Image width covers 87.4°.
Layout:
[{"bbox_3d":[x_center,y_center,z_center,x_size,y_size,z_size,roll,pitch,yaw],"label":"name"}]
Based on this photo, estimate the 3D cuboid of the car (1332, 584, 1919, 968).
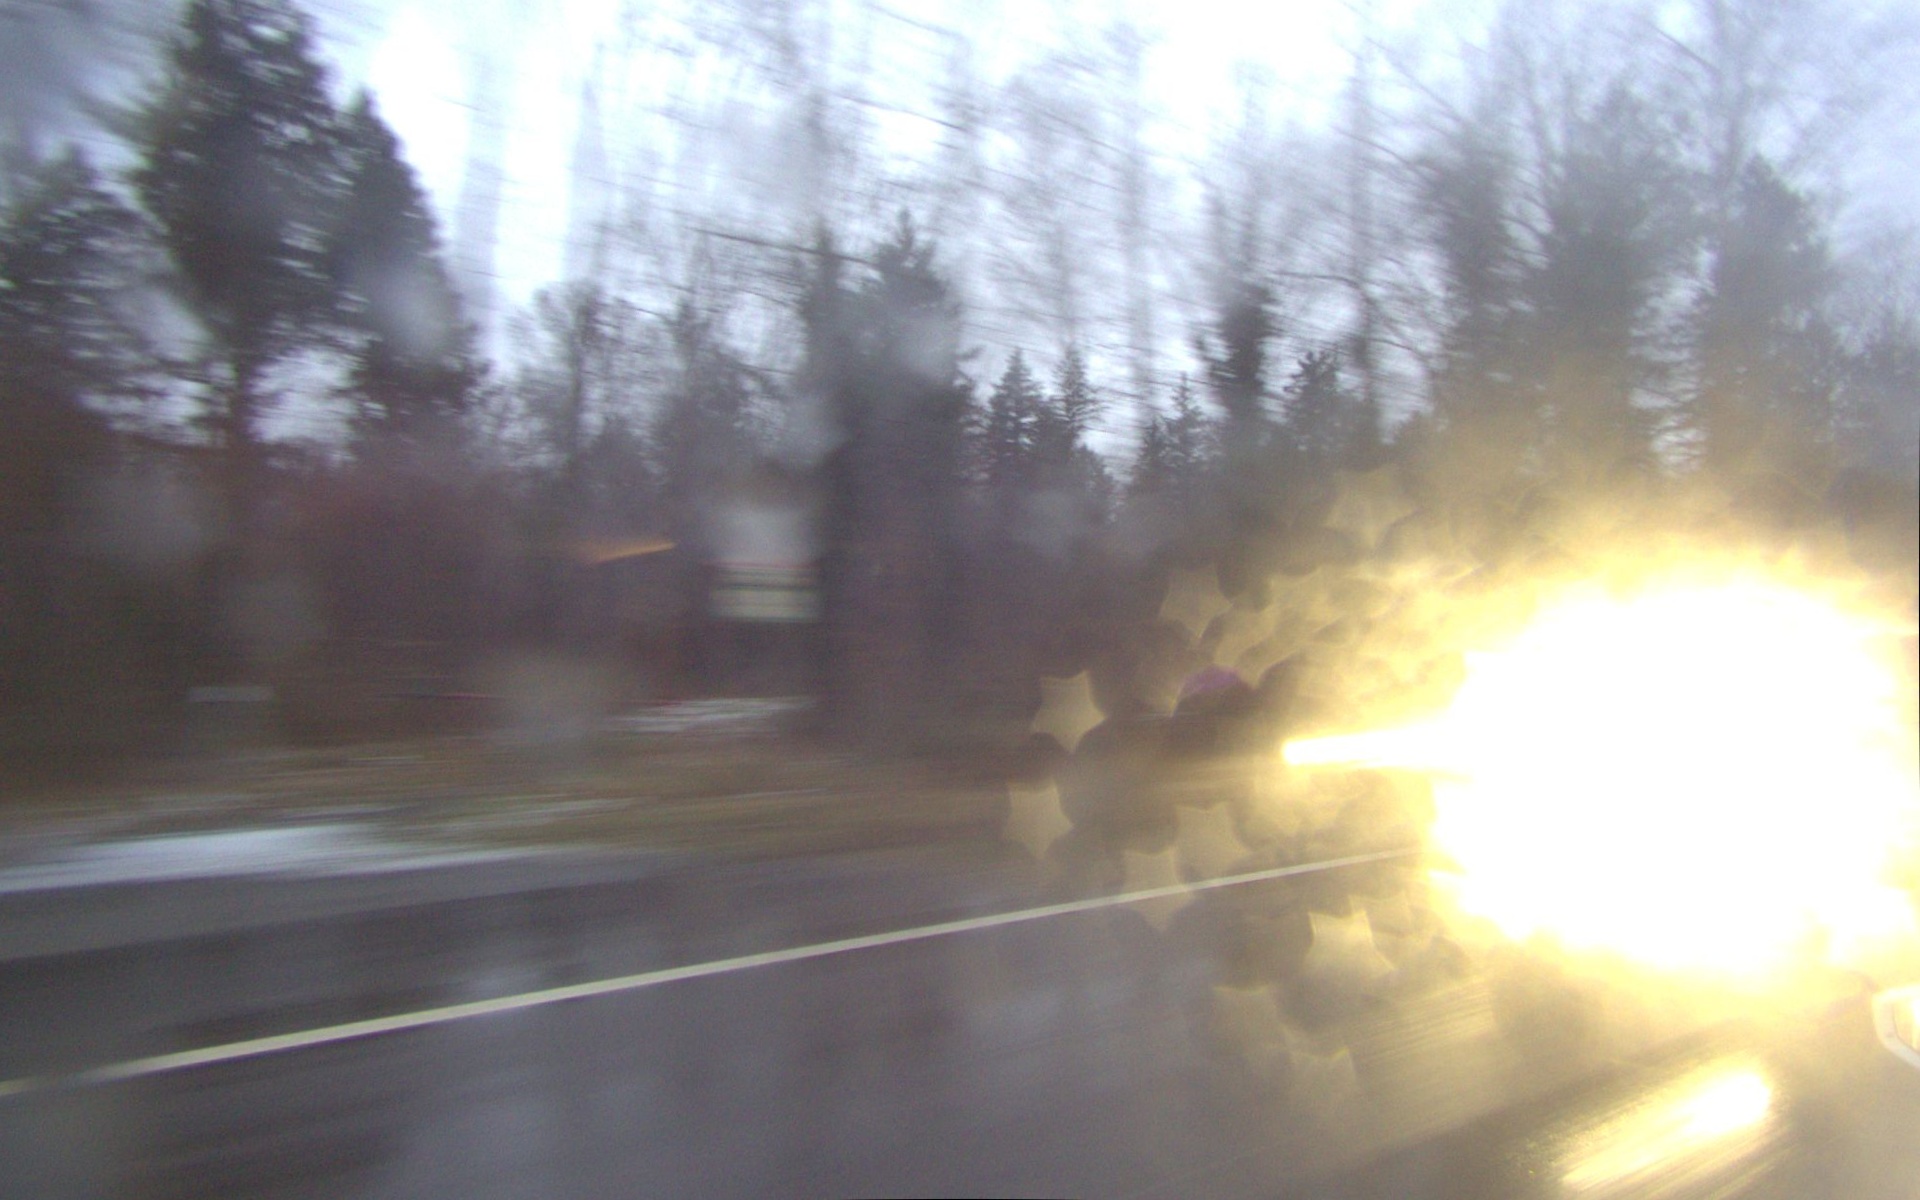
[{"bbox_3d":[4.704,0.827,6.368,4.693,1.670,1.814,0,-3,-30],"label":"car"}]
